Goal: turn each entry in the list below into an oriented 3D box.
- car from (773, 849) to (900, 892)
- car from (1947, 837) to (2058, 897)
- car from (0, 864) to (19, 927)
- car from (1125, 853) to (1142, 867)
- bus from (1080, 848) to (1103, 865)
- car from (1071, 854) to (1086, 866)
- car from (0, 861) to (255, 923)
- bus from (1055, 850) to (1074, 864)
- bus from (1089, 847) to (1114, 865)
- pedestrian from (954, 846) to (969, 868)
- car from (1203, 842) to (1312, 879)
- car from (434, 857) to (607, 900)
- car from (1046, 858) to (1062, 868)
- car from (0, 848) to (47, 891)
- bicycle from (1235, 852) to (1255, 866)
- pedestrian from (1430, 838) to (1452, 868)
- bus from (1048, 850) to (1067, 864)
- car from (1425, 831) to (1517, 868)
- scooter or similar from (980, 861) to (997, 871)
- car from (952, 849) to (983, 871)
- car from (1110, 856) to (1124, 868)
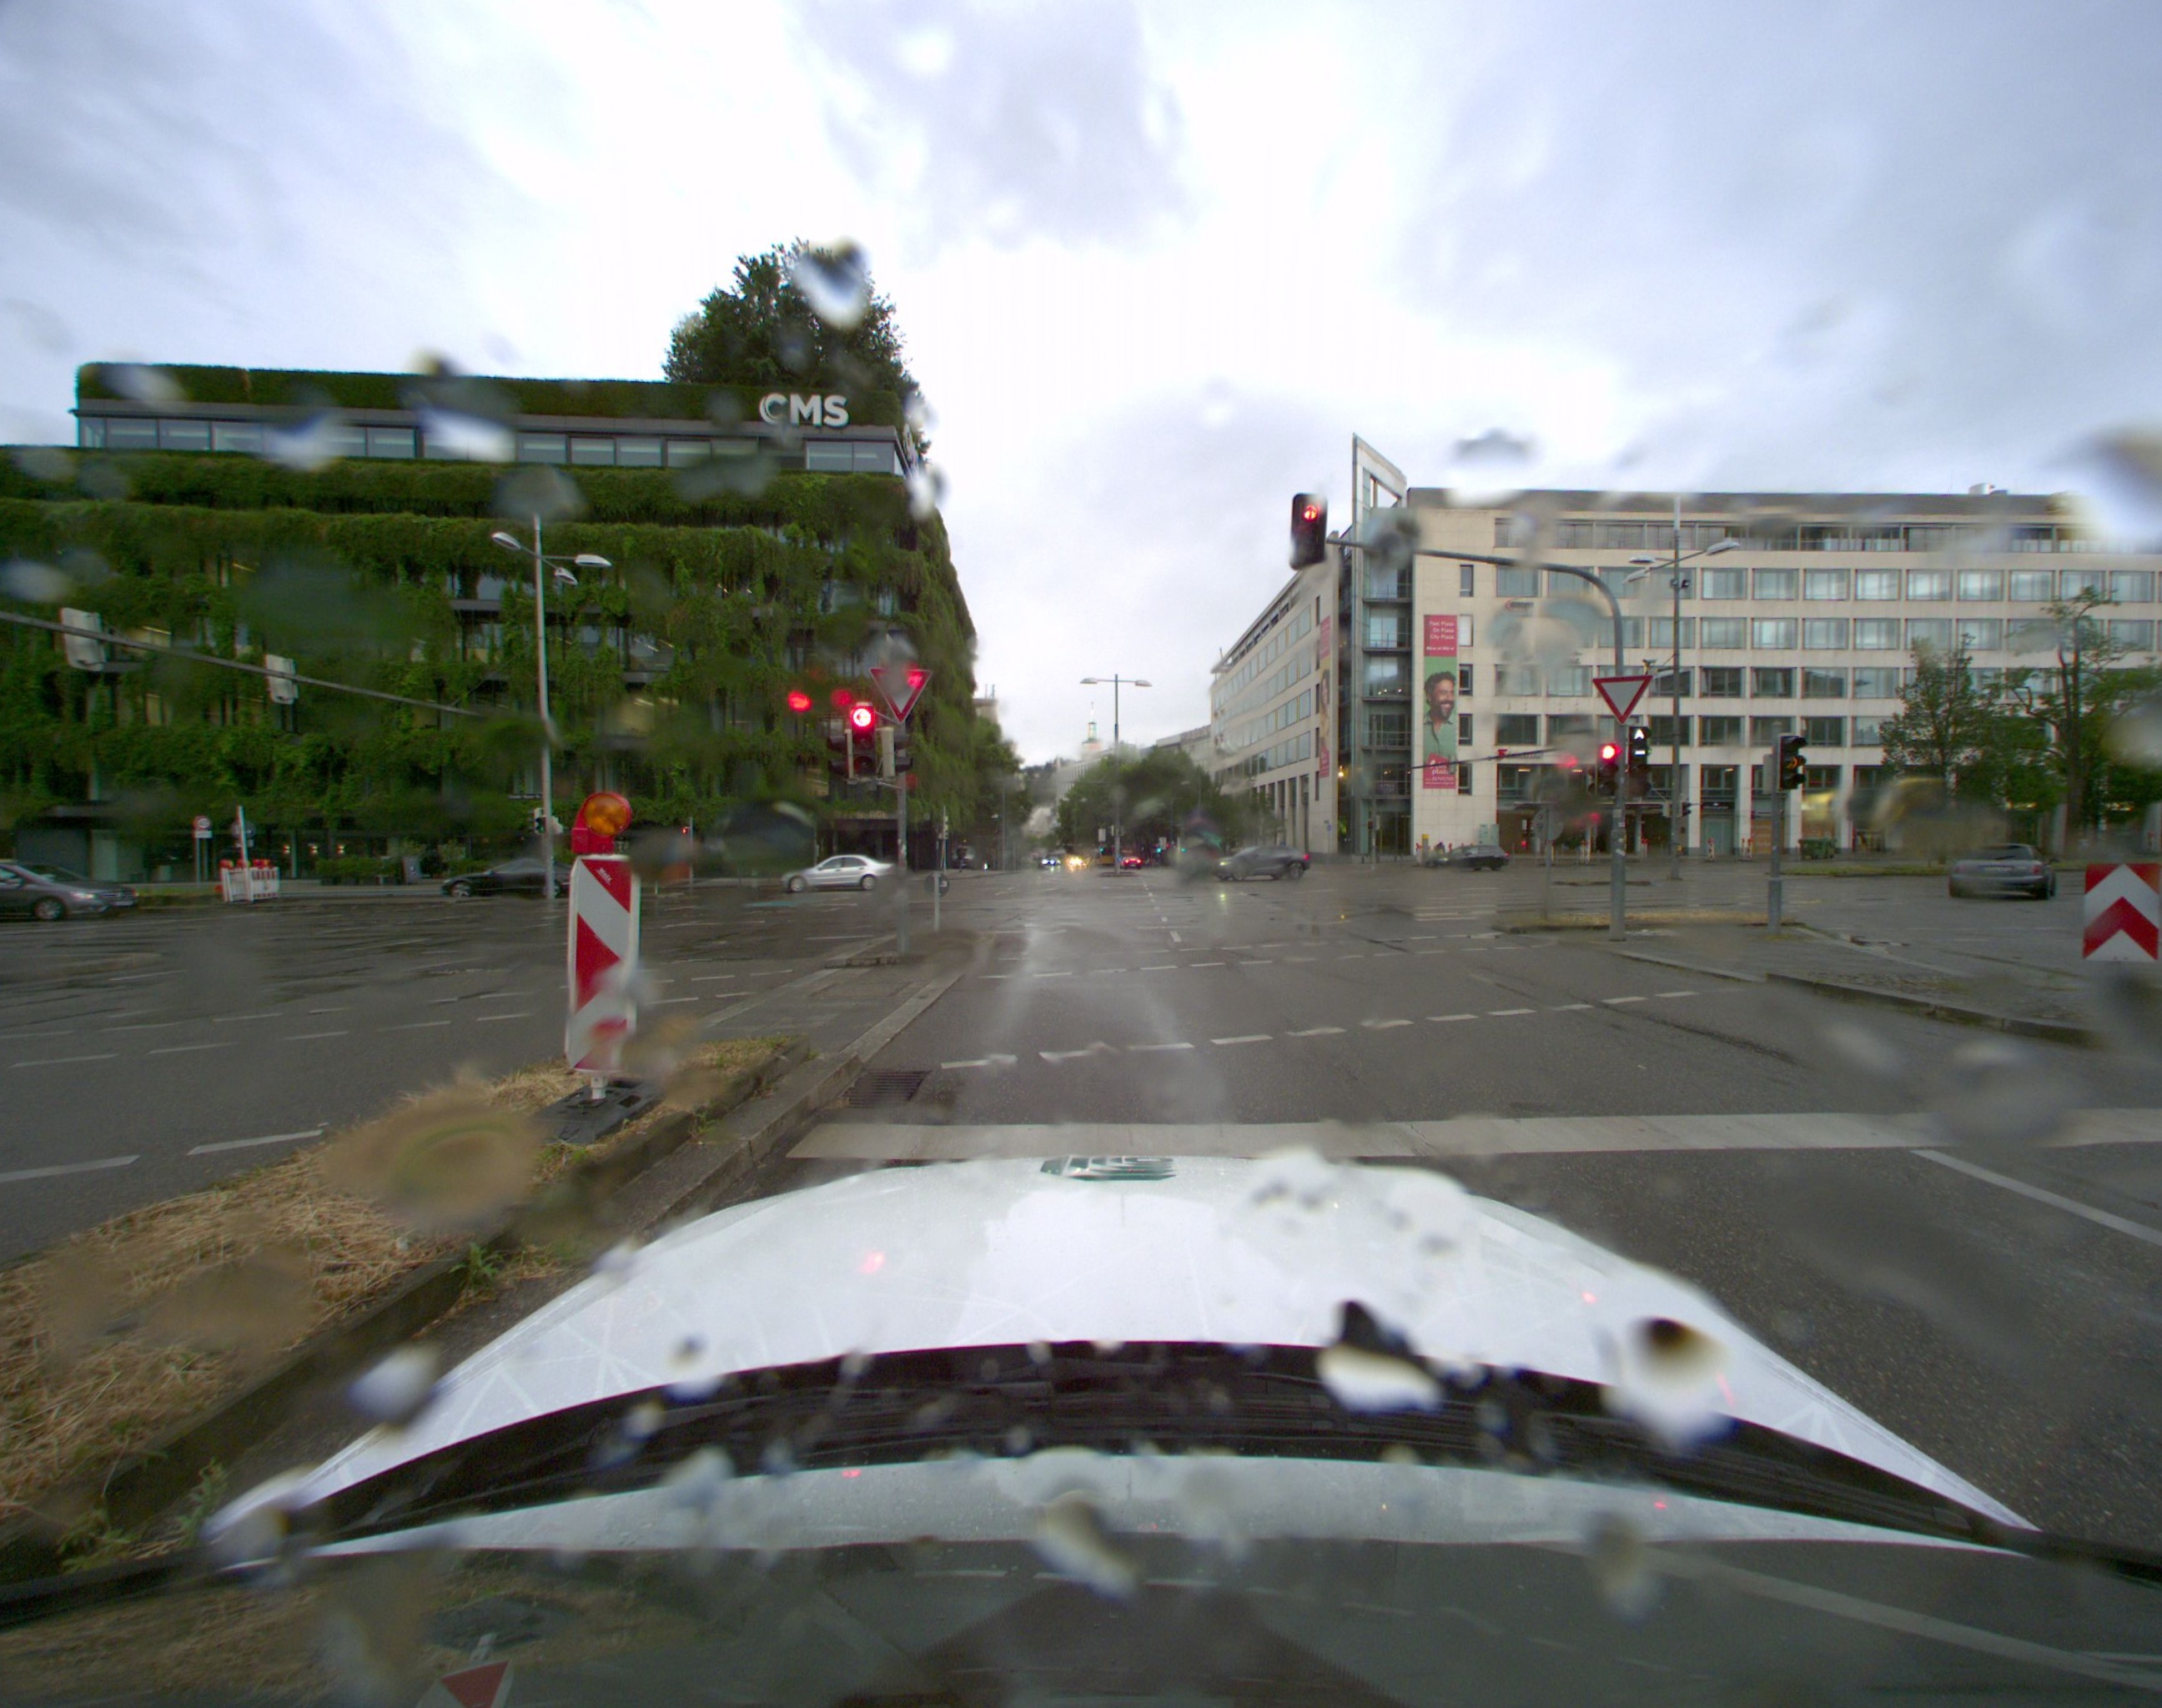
[{"bbox_3d":[-9.738,0.635,32.787,4.723,1.476,1.992,-1,3,-13],"label":"car"},{"bbox_3d":[24.576,0.319,21.681,3.739,1.455,1.725,0,-1,-38],"label":"car"},{"bbox_3d":[-27.335,1.003,18.304,3.981,1.475,1.996,-1,0,-6],"label":"car"},{"bbox_3d":[5.973,0.668,93.545,1.775,1.508,4.001,0,-1,2],"label":"car"},{"bbox_3d":[1.992,0.427,153.278,2.631,2.995,7.415,-1,0,-13],"label":"bus"},{"bbox_3d":[-0.392,0.984,127.027,2.158,1.765,5.109,-2,0,-1],"label":"car"},{"bbox_3d":[-26.118,0.984,22.061,4.901,1.488,1.924,-1,0,-15],"label":"car"},{"bbox_3d":[-3.539,0.629,173.570,2.631,2.995,7.294,-1,0,-13],"label":"bus"},{"bbox_3d":[3.684,0.376,146.085,2.631,2.995,7.415,-1,0,-13],"label":"bus"},{"bbox_3d":[-8.881,0.215,60.635,0.930,1.644,0.774,0,-1,1],"label":"pedestrian"},{"bbox_3d":[7.954,0.278,36.719,4.480,1.609,1.823,0,-1,-14],"label":"car"},{"bbox_3d":[-20.593,0.890,30.166,4.852,1.477,1.991,0,-2,-13],"label":"car"},{"bbox_3d":[-4.832,1.596,145.255,2.163,1.765,4.816,-2,0,-9],"label":"car"},{"bbox_3d":[-40.739,0.560,28.983,4.690,1.512,1.802,0,-1,-14],"label":"car"},{"bbox_3d":[14.944,0.445,74.137,1.770,1.194,0.587,0,-1,3],"label":"bicycle"},{"bbox_3d":[21.767,-0.055,49.272,0.958,1.816,0.837,0,-1,1],"label":"pedestrian"},{"bbox_3d":[-5.234,0.658,180.713,2.631,2.995,7.415,-1,0,-13],"label":"bus"},{"bbox_3d":[22.225,-0.257,46.474,4.650,2.014,1.544,0,-1,-9],"label":"car"},{"bbox_3d":[-9.423,1.179,82.944,0.616,1.004,1.671,-1,0,40],"label":"scooter or similar"},{"bbox_3d":[-9.554,0.503,68.731,1.863,1.839,4.001,0,-1,2],"label":"car"},{"bbox_3d":[4.731,1.090,106.801,1.775,1.508,4.001,0,-1,2],"label":"car"}]
